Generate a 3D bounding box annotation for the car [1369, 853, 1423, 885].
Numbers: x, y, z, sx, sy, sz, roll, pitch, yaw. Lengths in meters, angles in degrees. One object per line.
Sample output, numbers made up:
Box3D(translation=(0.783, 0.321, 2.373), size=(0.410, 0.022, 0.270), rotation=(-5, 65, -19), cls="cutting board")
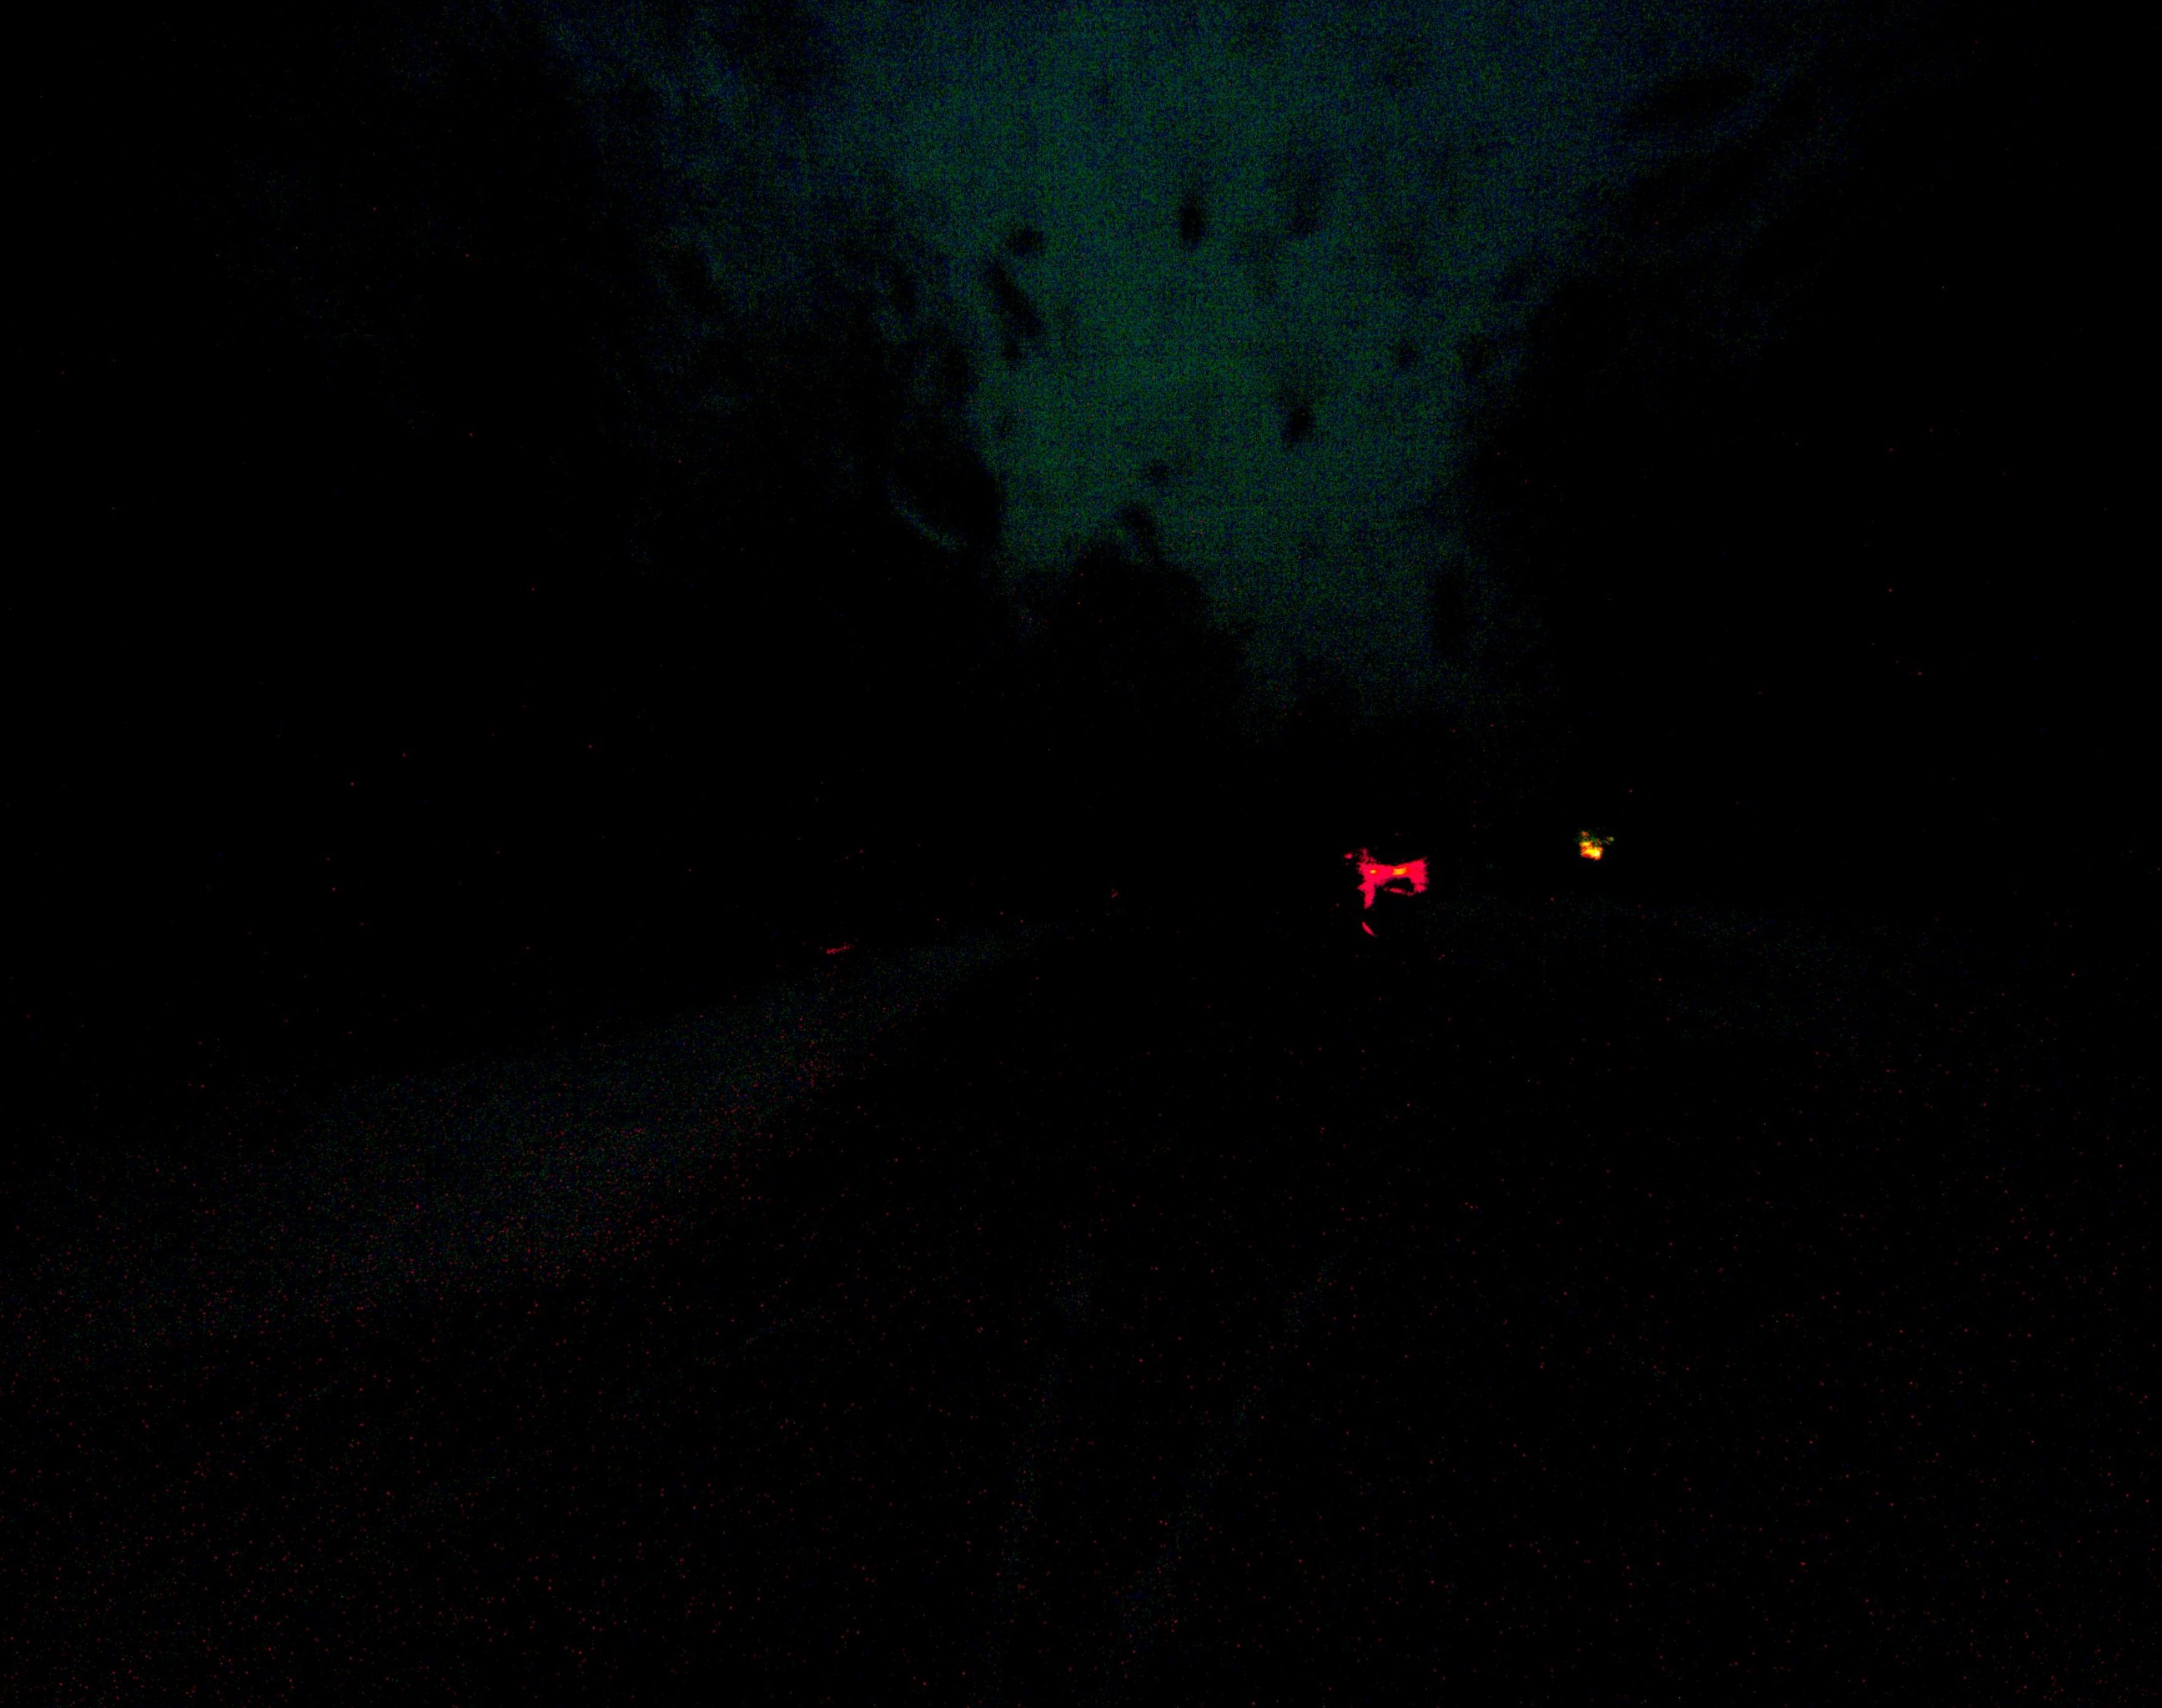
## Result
Box3D(translation=(15.535, 0.696, 37.389), size=(1.775, 1.484, 4.558), rotation=(0, 0, 31), cls="car")
